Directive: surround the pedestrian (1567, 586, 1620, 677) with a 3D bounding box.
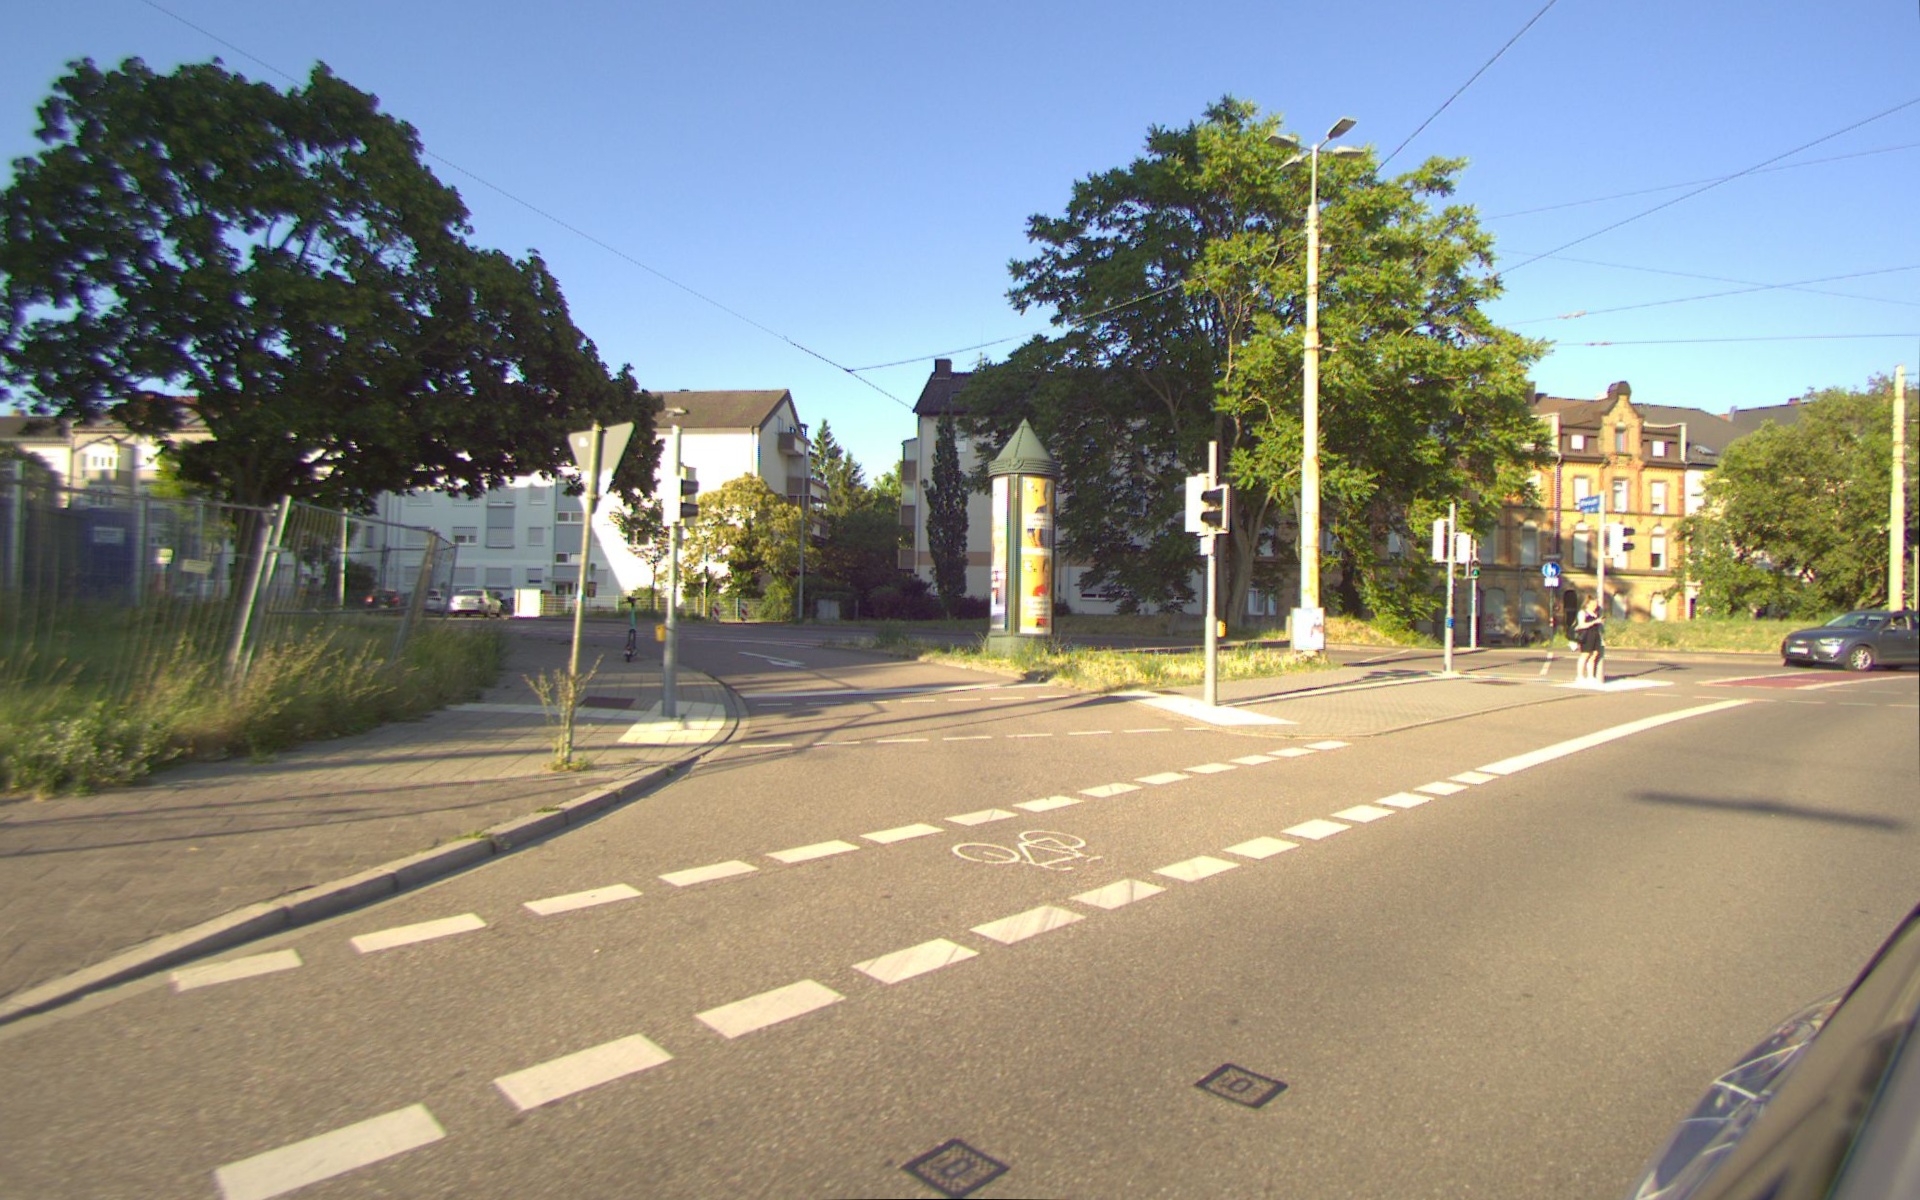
[{"bbox_3d":[11.418,0.553,18.256,0.535,1.616,0.595,1,0,-8],"label":"pedestrian"}]

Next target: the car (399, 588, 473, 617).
[{"bbox_3d":[-27.519,0.111,53.302,1.674,1.469,4.332,1,0,0],"label":"car"}]

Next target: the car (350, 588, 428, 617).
[{"bbox_3d":[-30.209,0.121,53.672,1.674,1.469,4.332,1,0,0],"label":"car"}]

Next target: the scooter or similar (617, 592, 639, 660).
[{"bbox_3d":[-6.478,0.485,19.771,0.384,1.292,1.297,0,0,-18],"label":"scooter or similar"}]

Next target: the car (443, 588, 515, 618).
[{"bbox_3d":[-24.889,0.148,52.517,1.674,1.469,4.332,1,0,0],"label":"car"}]

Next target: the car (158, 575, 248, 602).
[{"bbox_3d":[-43.330,-0.636,57.950,4.262,1.469,1.701,1,0,10],"label":"car"}]

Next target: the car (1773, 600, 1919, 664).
[{"bbox_3d":[23.830,0.814,26.102,4.250,1.568,1.819,1,0,0],"label":"car"}]
